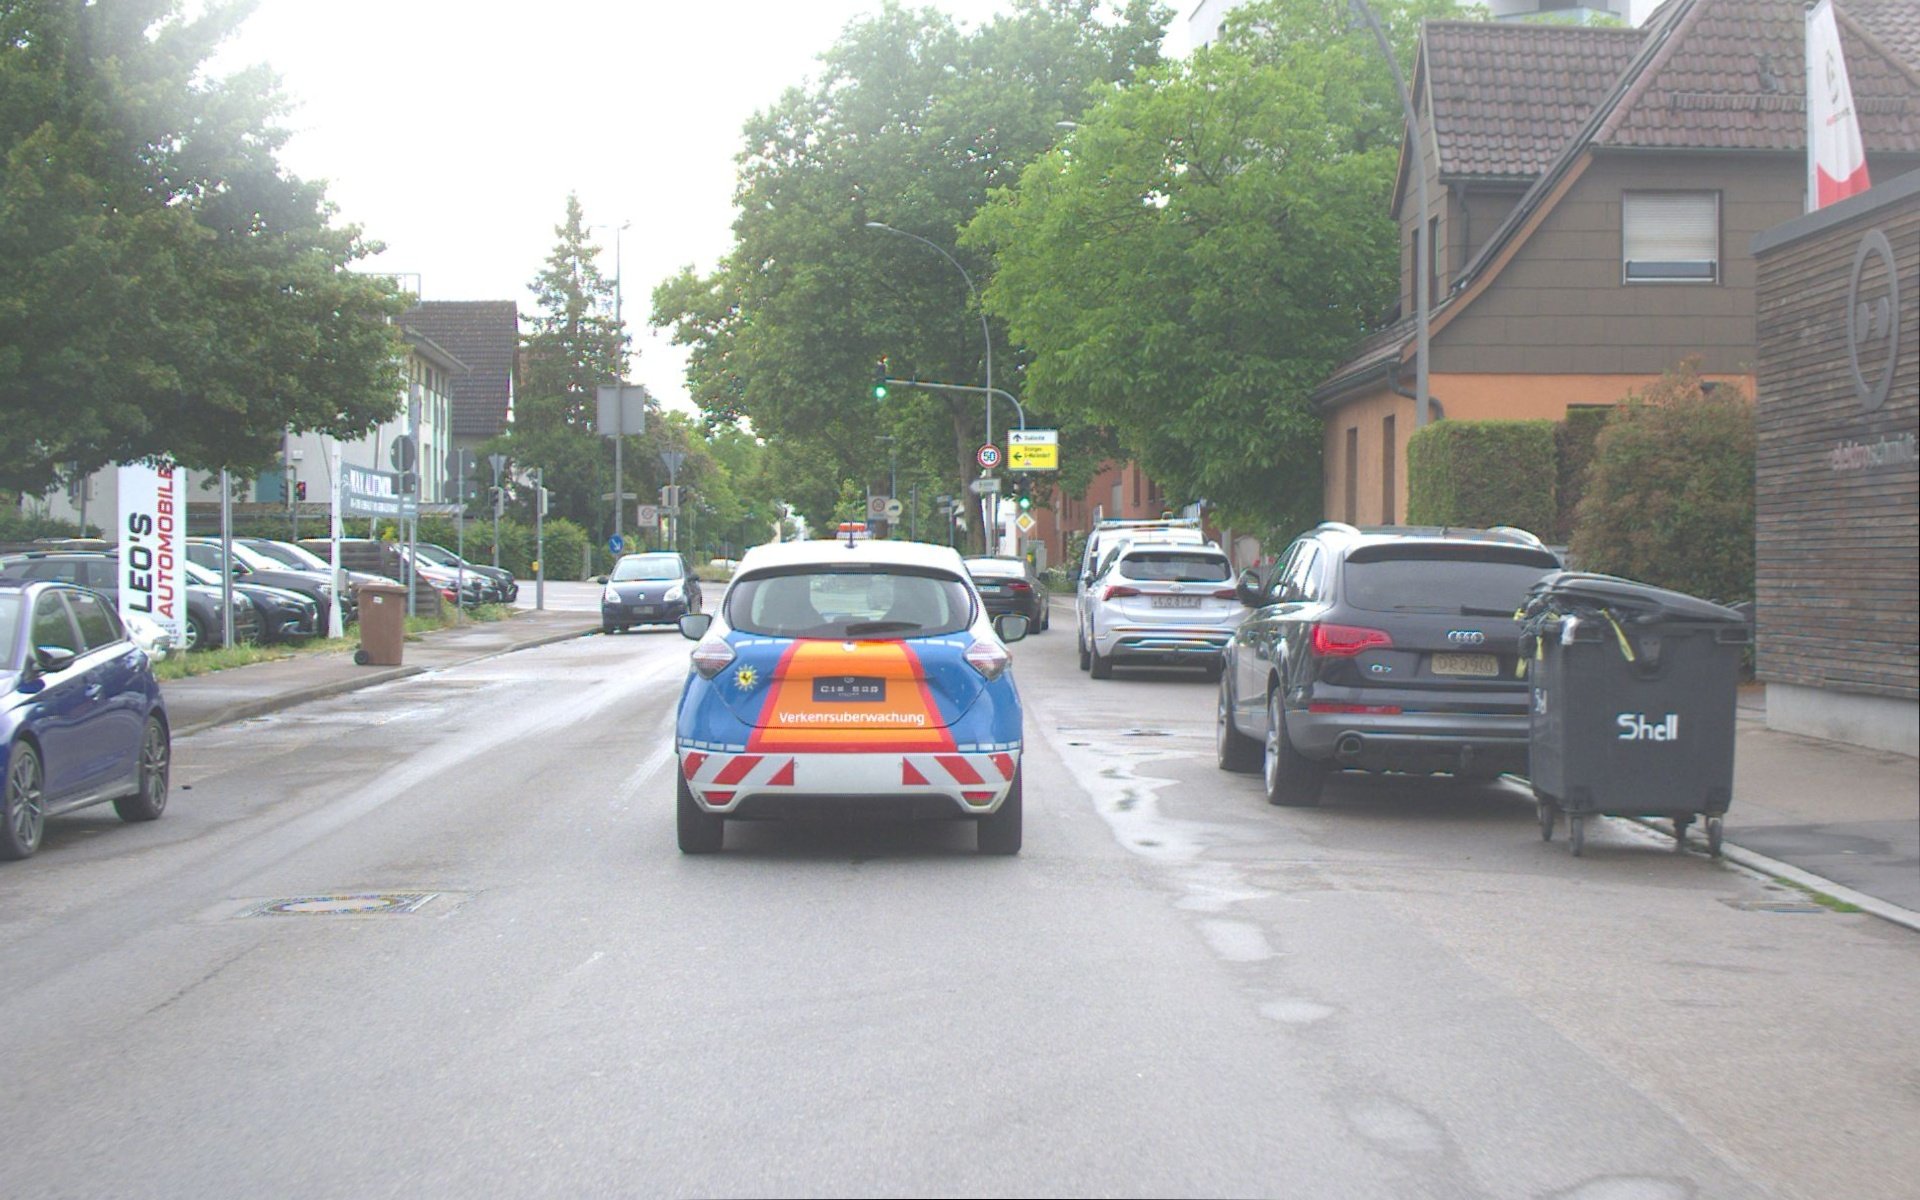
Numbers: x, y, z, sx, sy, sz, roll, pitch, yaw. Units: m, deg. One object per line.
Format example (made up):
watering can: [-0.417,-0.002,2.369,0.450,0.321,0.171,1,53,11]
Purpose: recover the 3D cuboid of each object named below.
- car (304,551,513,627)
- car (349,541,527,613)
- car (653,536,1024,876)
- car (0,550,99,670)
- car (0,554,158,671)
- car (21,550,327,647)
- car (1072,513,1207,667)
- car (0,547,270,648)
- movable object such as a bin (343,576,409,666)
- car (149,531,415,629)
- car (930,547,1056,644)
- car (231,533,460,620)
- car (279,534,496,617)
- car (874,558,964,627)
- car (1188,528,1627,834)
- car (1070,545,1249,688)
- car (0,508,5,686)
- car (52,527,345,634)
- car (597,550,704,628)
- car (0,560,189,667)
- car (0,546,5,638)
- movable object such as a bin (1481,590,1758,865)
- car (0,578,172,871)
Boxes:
car: [-11.397,-0.241,71.183,3.987,1.436,1.803,1,1,2]
car: [-11.938,-0.533,78.536,3.945,1.525,1.623,1,2,-10]
car: [-0.605,0.467,18.285,1.745,1.575,4.000,0,1,-1]
car: [-12.123,0.095,38.378,4.557,1.305,1.889,0,1,-1]
car: [-12.059,0.136,41.369,4.376,1.369,1.889,0,1,-1]
car: [-12.292,-0.040,53.941,4.347,1.459,1.941,0,1,0]
car: [2.507,-0.195,48.912,1.778,2.022,4.754,2,2,2]
car: [-12.497,-0.052,51.398,3.987,1.459,1.839,0,1,0]
movable object such as a bin: [-7.480,0.263,44.046,0.708,1.126,0.735,1,1,0]
car: [-12.085,-0.366,61.465,4.347,1.684,1.959,0,1,0]
car: [0.552,-0.101,61.520,1.993,1.568,4.001,1,2,-3]
car: [-11.694,-0.465,65.617,3.987,1.538,1.803,1,1,2]
car: [-11.420,-0.500,68.742,3.987,1.538,1.803,1,1,2]
car: [-0.954,-0.185,78.554,1.794,1.423,4.001,1,2,-4]
car: [2.710,0.416,21.949,2.091,1.656,4.559,1,2,-1]
car: [2.427,0.164,42.765,1.865,1.659,4.320,1,1,-1]
car: [-11.838,-0.015,33.563,4.556,1.784,1.898,0,1,-5]
car: [-12.433,-0.335,56.324,4.347,1.685,2.058,0,1,0]
car: [-5.812,-0.234,64.939,1.626,1.428,3.683,0,1,1]
car: [-12.210,0.162,43.665,4.451,1.327,1.771,0,1,-1]
car: [-16.771,-0.099,55.325,1.691,1.525,4.000,-1,1,0]
movable object such as a bin: [3.487,0.649,18.327,1.126,1.383,1.504,0,1,-3]
car: [-5.640,0.616,18.702,1.806,1.398,3.945,-1,1,-1]
